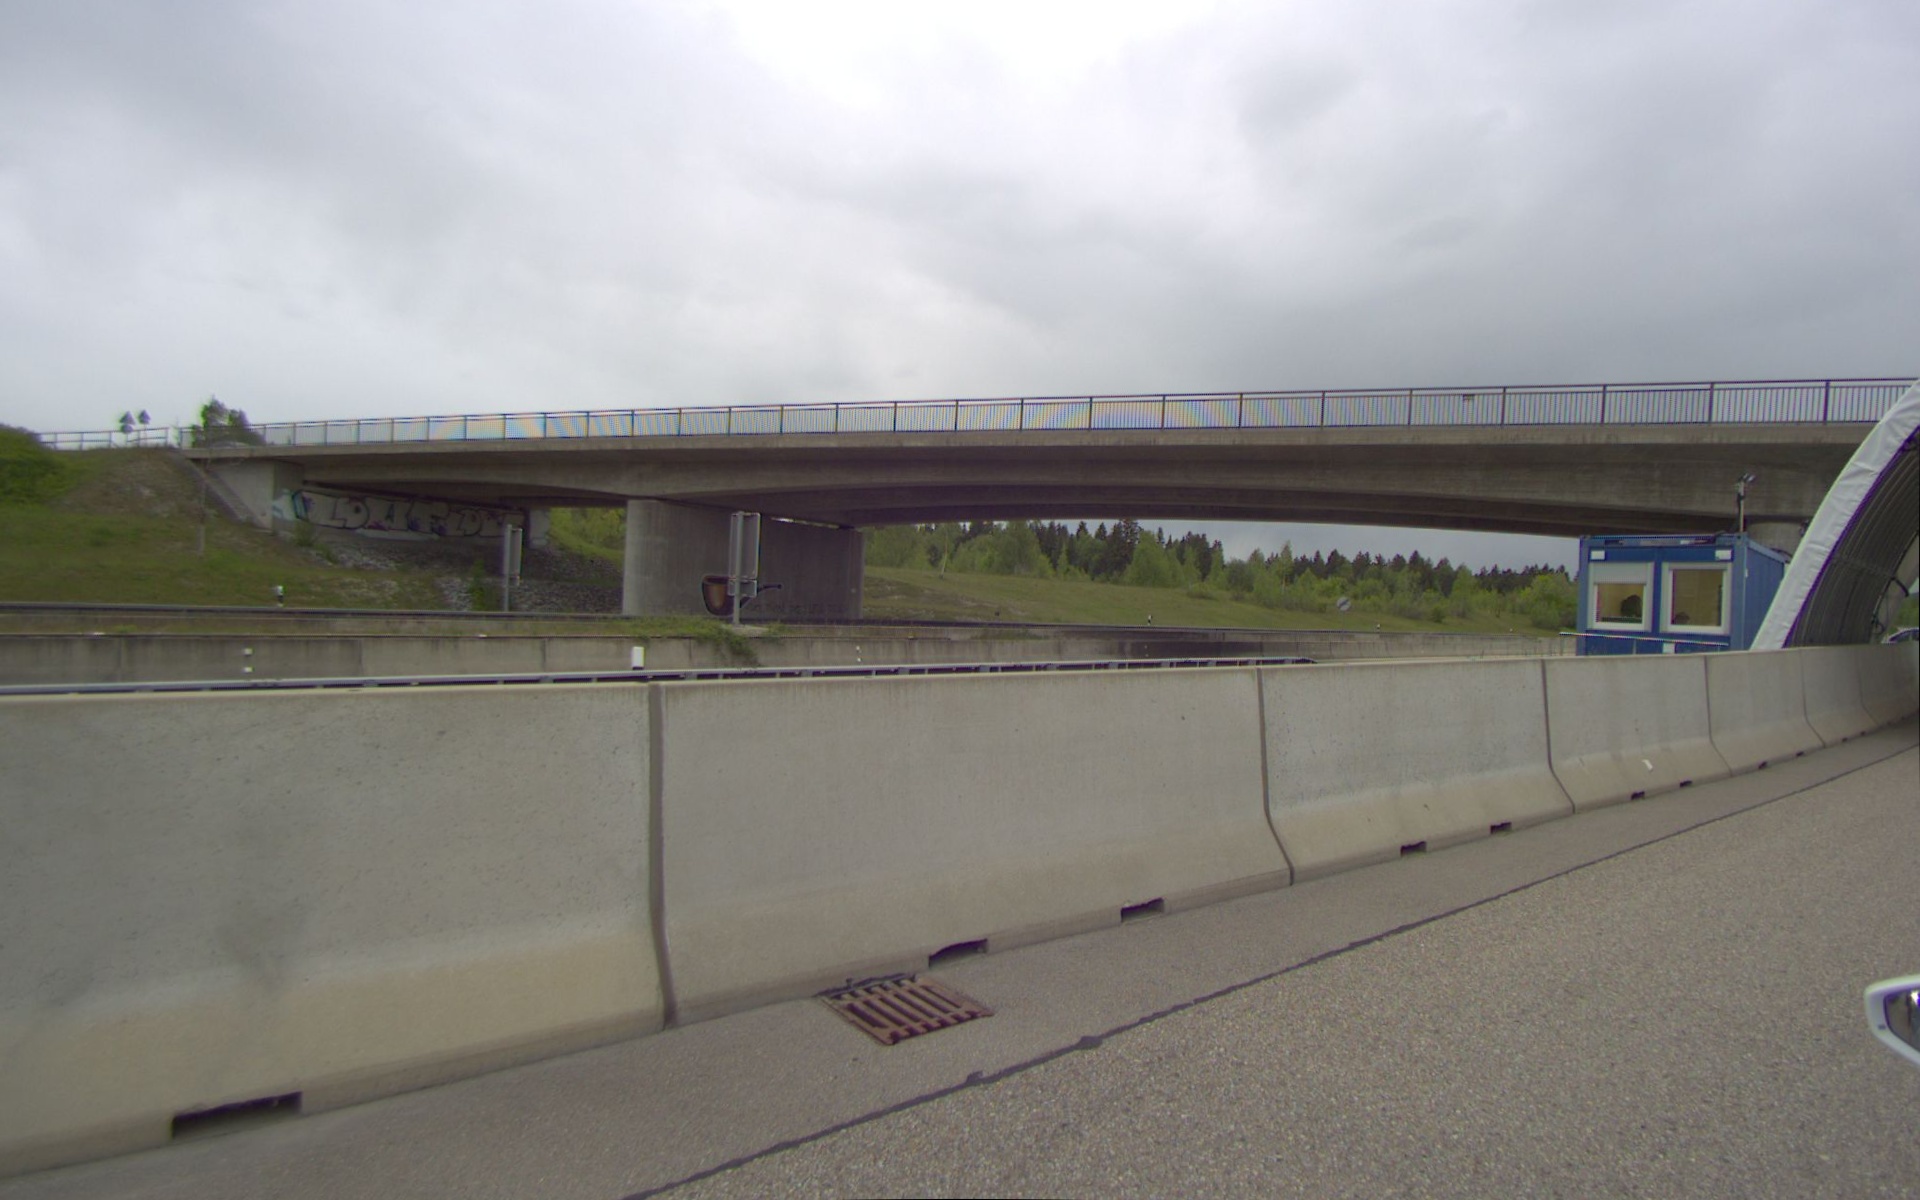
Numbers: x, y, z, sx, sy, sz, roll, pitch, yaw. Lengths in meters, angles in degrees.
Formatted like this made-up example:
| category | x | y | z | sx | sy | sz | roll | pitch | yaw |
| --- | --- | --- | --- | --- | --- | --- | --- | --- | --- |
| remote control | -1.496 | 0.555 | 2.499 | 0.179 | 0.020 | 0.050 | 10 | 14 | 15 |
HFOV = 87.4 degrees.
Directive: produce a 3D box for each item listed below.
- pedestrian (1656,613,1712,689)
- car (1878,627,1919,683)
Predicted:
| category | x | y | z | sx | sy | sz | roll | pitch | yaw |
| --- | --- | --- | --- | --- | --- | --- | --- | --- | --- |
| pedestrian | 13.631 | 0.953 | 18.909 | 0.618 | 1.391 | 0.609 | 2 | -1 | -21 |
| car | 36.686 | 2.048 | 36.379 | 1.814 | 2.040 | 4.797 | 2 | -1 | -22 |
